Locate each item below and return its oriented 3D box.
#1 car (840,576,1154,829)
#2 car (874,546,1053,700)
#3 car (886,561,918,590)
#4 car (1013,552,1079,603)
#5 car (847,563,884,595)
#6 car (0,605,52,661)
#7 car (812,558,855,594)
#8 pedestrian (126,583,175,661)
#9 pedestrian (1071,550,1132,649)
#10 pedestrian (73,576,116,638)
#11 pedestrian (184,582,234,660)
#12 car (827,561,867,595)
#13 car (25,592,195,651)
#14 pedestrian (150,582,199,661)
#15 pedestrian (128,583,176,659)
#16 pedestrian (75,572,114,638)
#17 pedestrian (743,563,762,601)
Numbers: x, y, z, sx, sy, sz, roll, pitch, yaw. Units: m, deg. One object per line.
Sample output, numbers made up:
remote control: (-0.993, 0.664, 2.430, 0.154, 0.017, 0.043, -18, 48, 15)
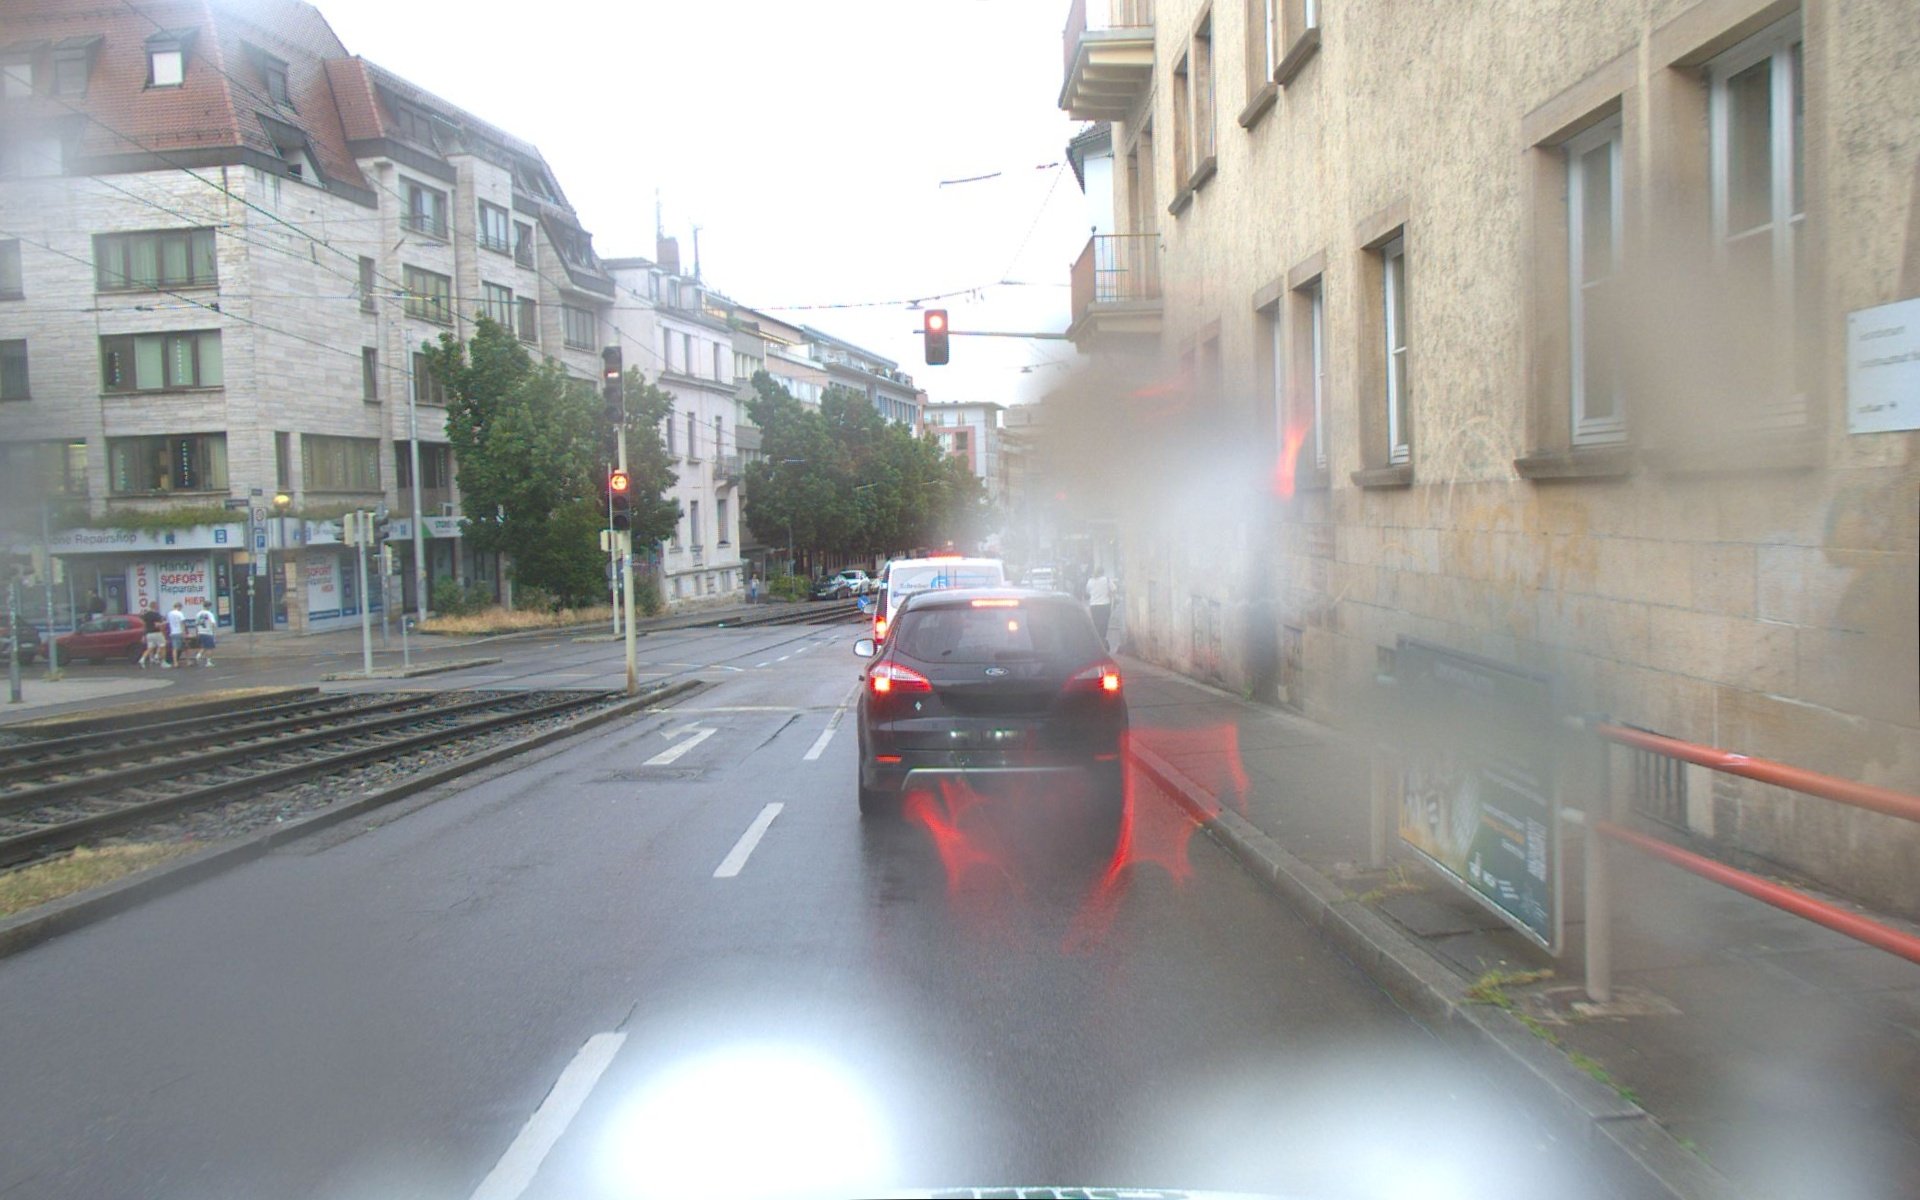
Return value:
car: (0.310, 0.596, 11.933, 1.880, 1.505, 4.002, 0, 1, 3)
car: (0.000, 0.237, 22.016, 2.094, 1.775, 4.217, -2, 1, -1)
car: (-4.300, -1.848, 123.050, 1.951, 2.049, 4.002, -1, 1, 4)
car: (3.219, -0.848, 61.463, 1.951, 1.803, 4.004, -1, 1, 10)
car: (-6.328, -1.431, 111.666, 1.951, 2.049, 4.002, -1, 1, 4)
car: (-29.396, 1.001, 48.983, 4.045, 1.596, 1.825, -1, 1, 8)
car: (-7.526, -1.437, 99.020, 1.951, 2.049, 4.002, -1, 1, 4)
pedestrian: (-21.841, 0.586, 44.656, 0.923, 2.049, 0.764, -1, 1, -5)
pedestrian: (2.671, -0.012, 31.351, 1.024, 1.826, 0.902, -1, 1, -3)
pedestrian: (-27.971, 0.221, 53.473, 0.887, 1.965, 0.825, -2, 0, -2)
pedestrian: (-20.013, 0.544, 44.088, 0.922, 2.049, 0.765, -1, 1, -1)
car: (-7.192, -1.372, 105.233, 1.952, 2.049, 4.002, -2, 0, 4)
car: (-24.691, 0.617, 48.090, 4.045, 1.596, 1.825, -1, 1, 8)
pedestrian: (-20.961, 0.568, 44.145, 0.923, 2.049, 0.764, -1, 1, -5)
pedestrian: (-22.411, 0.577, 45.883, 0.923, 2.049, 0.764, -1, 1, -5)
pedestrian: (-27.363, 0.160, 52.297, 0.778, 2.049, 0.704, -1, 0, 7)
pedestrian: (-11.294, -0.997, 90.116, 0.924, 2.049, 0.763, -1, 1, -10)
